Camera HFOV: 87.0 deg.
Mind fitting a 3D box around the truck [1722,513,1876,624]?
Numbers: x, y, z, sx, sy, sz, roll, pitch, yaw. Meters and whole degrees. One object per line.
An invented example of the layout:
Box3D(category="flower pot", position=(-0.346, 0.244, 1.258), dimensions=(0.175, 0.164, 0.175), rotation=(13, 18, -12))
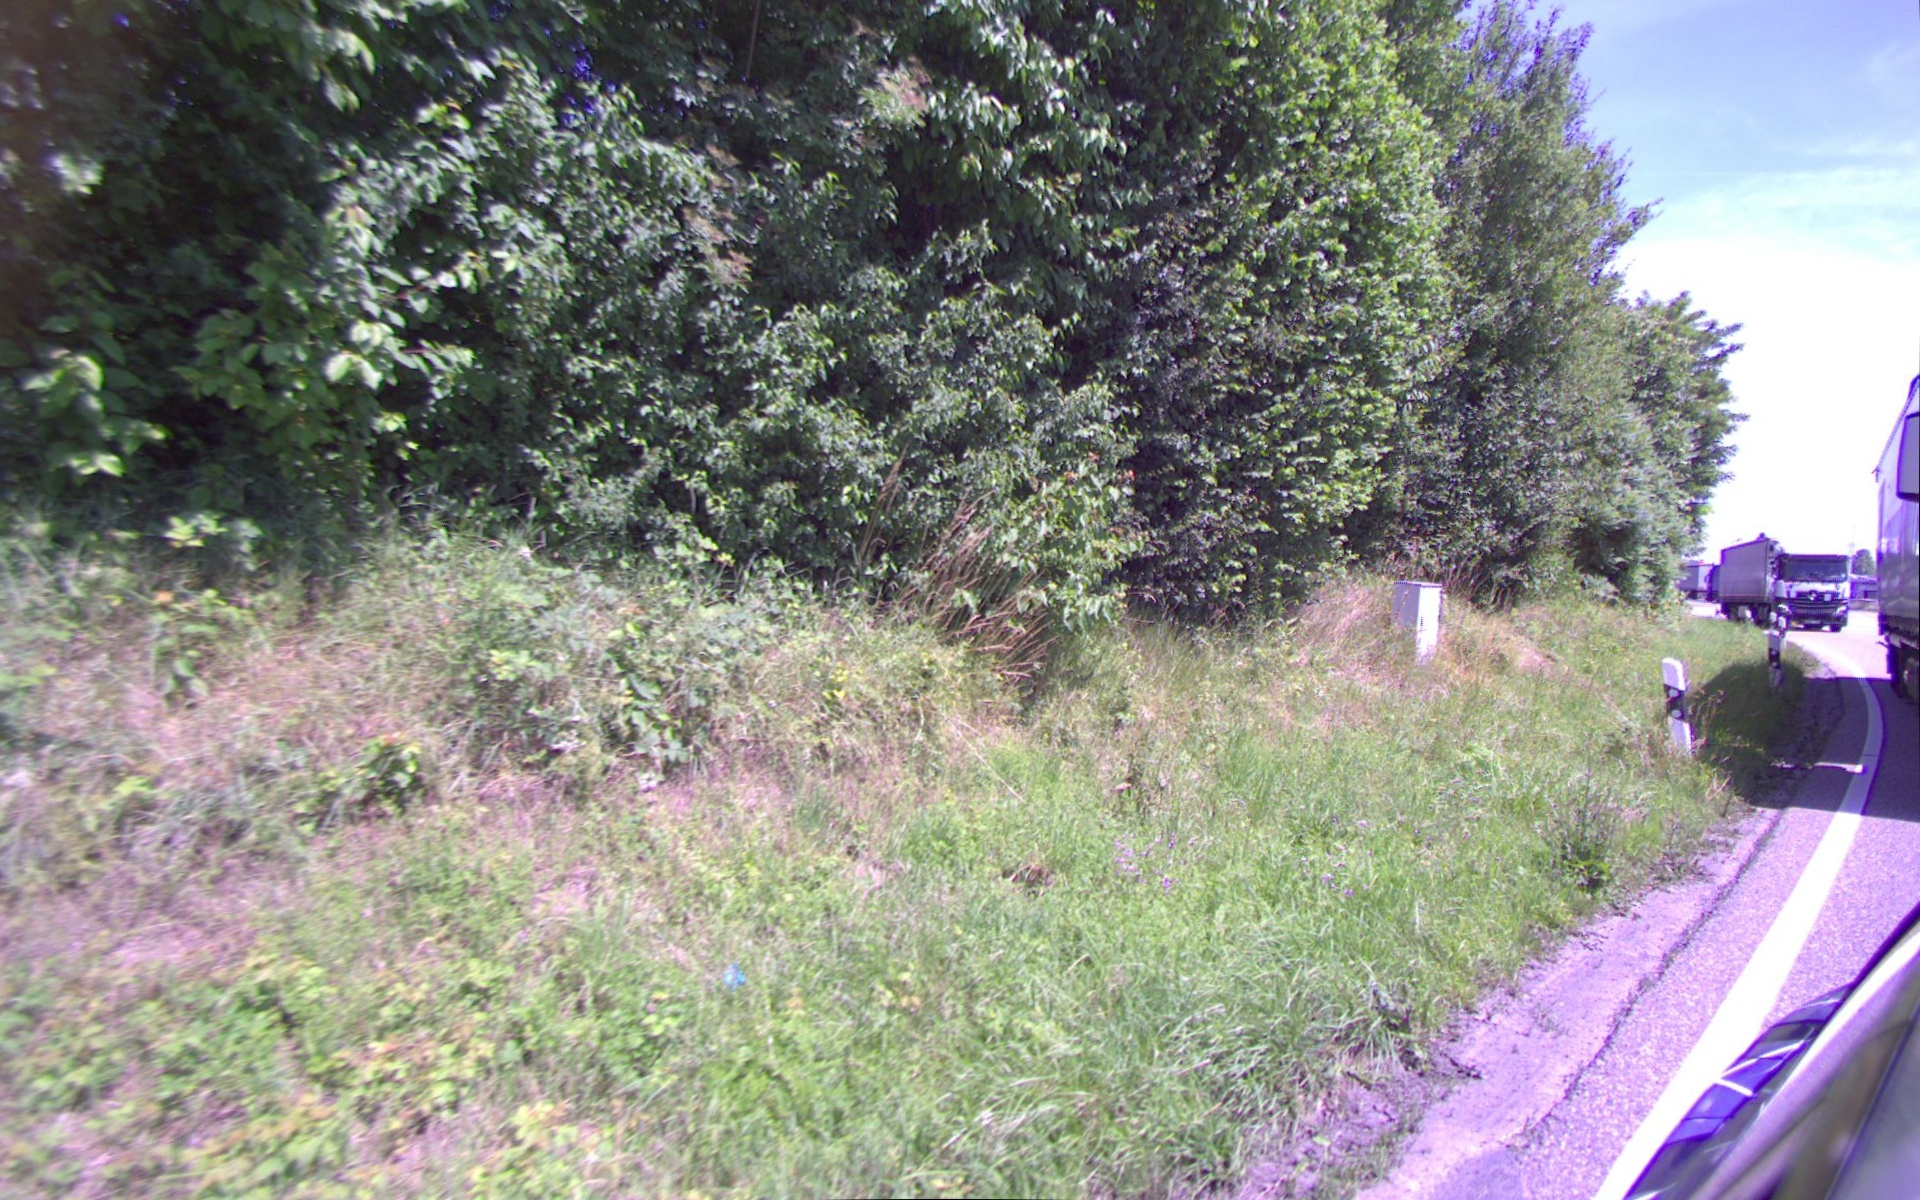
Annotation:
Box3D(category="truck", position=(40.164, -1.376, 49.158), dimensions=(2.957, 4.528, 16.280), rotation=(0, 1, 30))

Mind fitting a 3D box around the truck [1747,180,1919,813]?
Box3D(category="truck", position=(13.151, -0.949, 11.948), dimensions=(17.334, 4.144, 2.977), rotation=(-2, 1, -42))
